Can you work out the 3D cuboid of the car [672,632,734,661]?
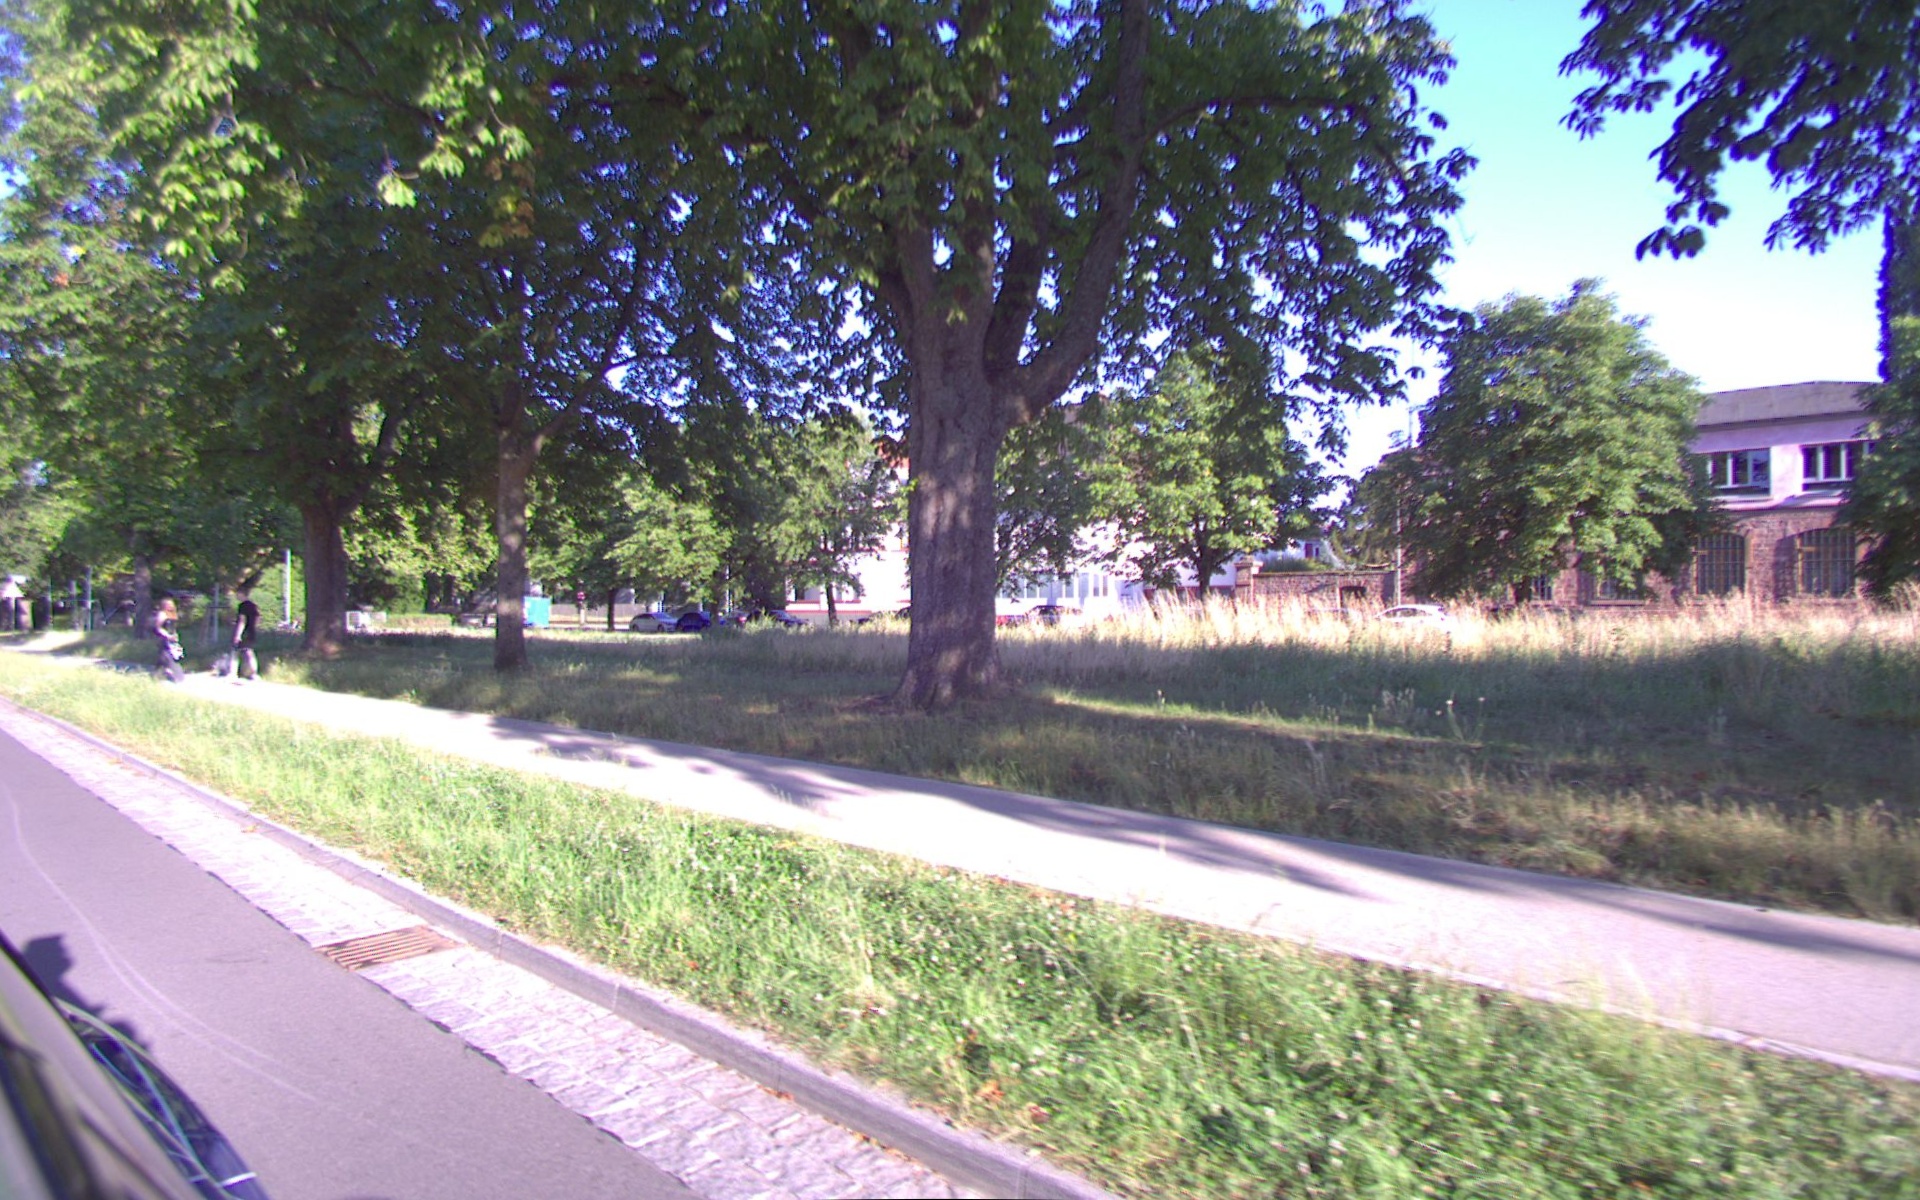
[{"bbox_3d":[-15.851,2.842,62.448,3.998,1.641,1.744,-2,-1,41],"label":"car"}]

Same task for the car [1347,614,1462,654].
[{"bbox_3d":[17.480,1.299,39.876,3.793,1.490,1.744,-1,0,41],"label":"car"}]

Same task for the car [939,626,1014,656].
[{"bbox_3d":[0.840,2.147,54.153,3.793,1.490,1.744,-1,0,41],"label":"car"}]

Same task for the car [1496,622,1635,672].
[{"bbox_3d":[21.555,1.642,36.120,3.998,1.641,1.744,-2,-1,41],"label":"car"}]

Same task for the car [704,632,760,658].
[{"bbox_3d":[-15.558,3.041,68.941,3.998,1.641,1.744,-2,-1,41],"label":"car"}]

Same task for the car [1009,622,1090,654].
[{"bbox_3d":[4.504,1.881,51.109,3.793,1.490,1.744,-1,0,41],"label":"car"}]

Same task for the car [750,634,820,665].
[{"bbox_3d":[-9.921,2.747,57.142,3.998,1.641,1.744,-2,-1,41],"label":"car"}]

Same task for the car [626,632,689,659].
[{"bbox_3d":[-19.714,2.964,65.905,4.424,1.641,1.849,-2,-1,41],"label":"car"}]

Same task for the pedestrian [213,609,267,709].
[{"bbox_3d":[-13.706,1.103,19.274,0.616,1.865,0.606,-1,0,-10],"label":"pedestrian"}]

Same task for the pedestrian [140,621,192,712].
[{"bbox_3d":[-14.875,1.230,18.961,0.616,1.643,0.607,-1,0,-23],"label":"pedestrian"}]
